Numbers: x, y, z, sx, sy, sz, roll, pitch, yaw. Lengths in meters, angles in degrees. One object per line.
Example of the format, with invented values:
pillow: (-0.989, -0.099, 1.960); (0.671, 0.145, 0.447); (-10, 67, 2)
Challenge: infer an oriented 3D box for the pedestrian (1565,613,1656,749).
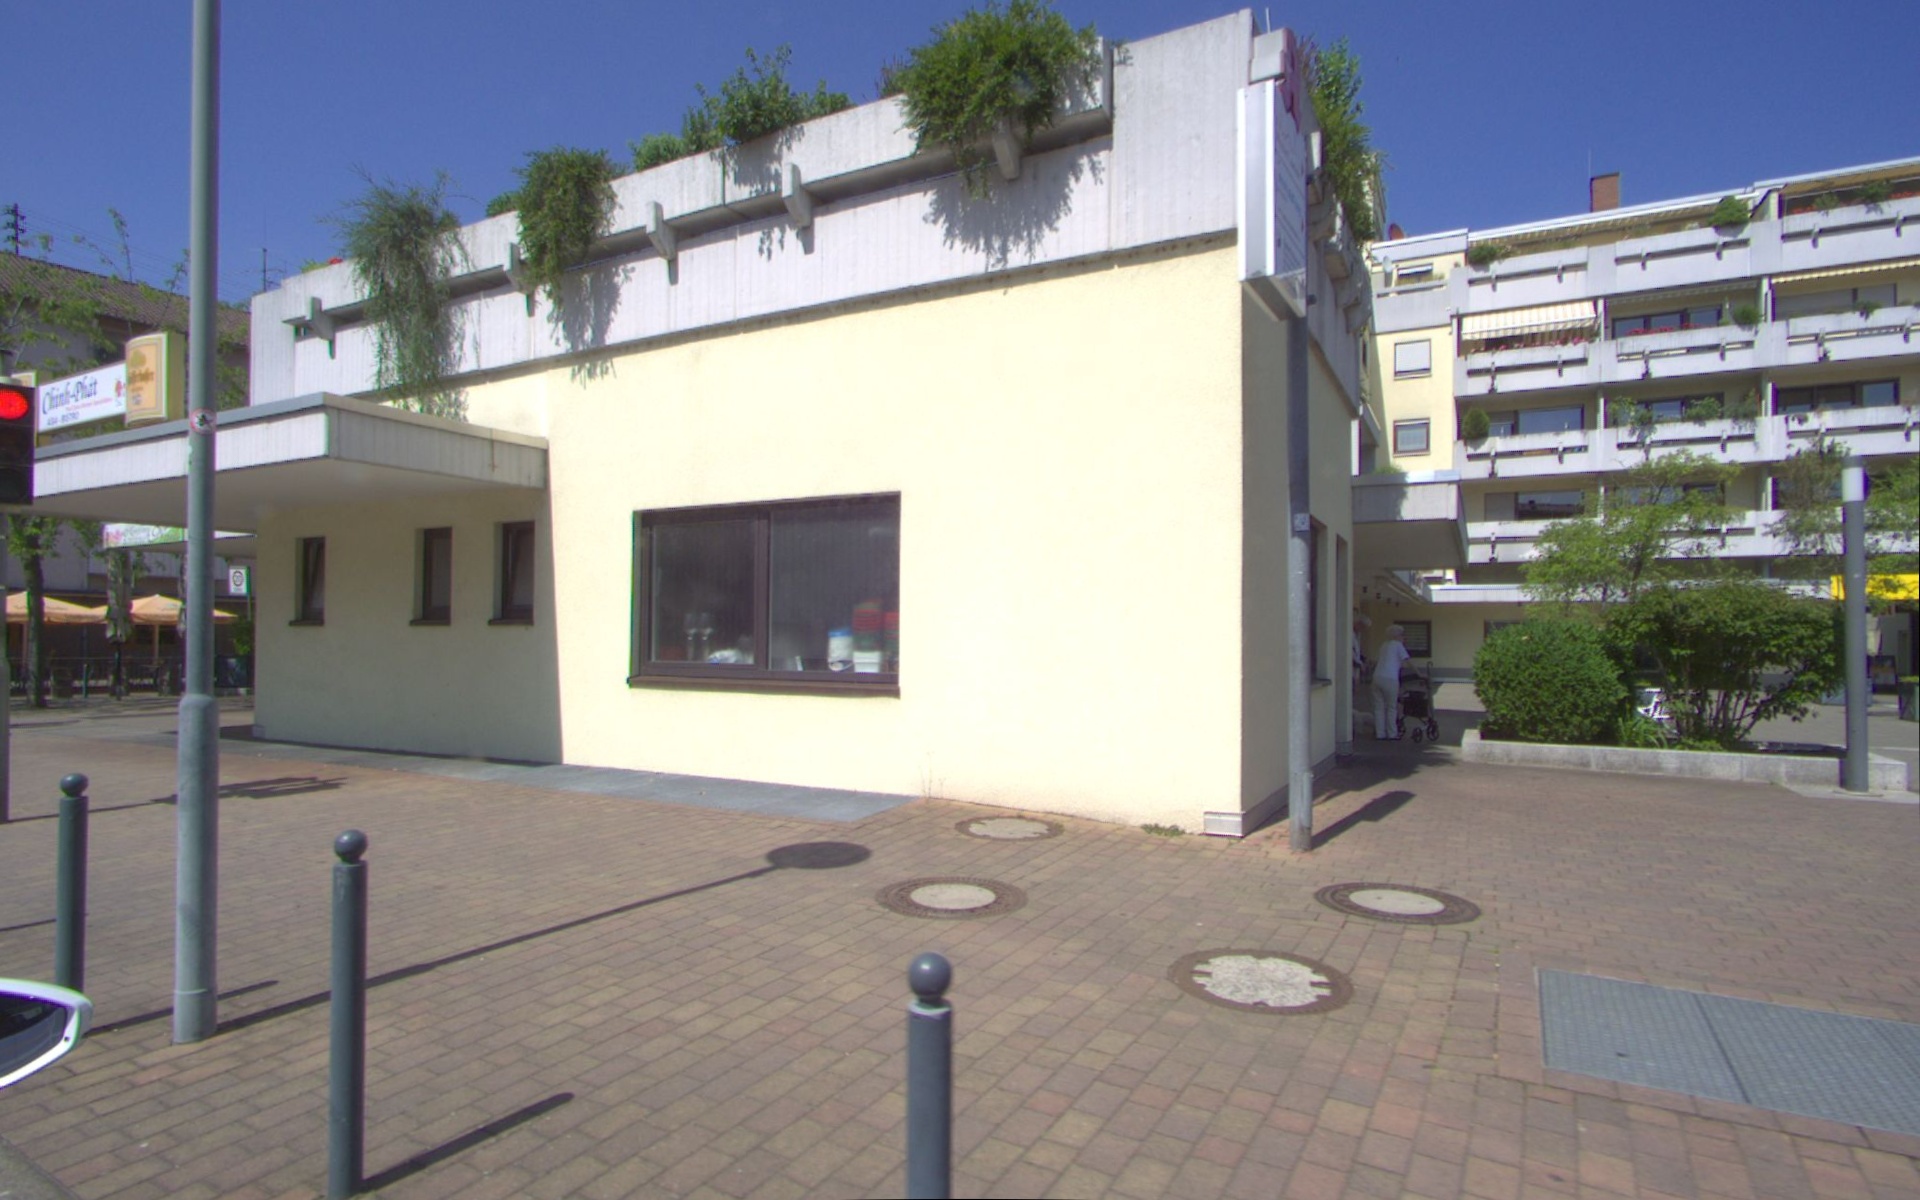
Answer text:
pedestrian: (8.754, 1.071, 13.511); (0.887, 1.758, 0.702); (0, -1, 22)

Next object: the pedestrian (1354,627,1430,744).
pedestrian: (5.779, 1.120, 13.404); (0.801, 1.516, 0.615); (1, -2, -35)

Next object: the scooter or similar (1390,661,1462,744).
scooter or similar: (6.447, 1.392, 13.847); (0.795, 1.088, 0.587); (2, -2, -35)
